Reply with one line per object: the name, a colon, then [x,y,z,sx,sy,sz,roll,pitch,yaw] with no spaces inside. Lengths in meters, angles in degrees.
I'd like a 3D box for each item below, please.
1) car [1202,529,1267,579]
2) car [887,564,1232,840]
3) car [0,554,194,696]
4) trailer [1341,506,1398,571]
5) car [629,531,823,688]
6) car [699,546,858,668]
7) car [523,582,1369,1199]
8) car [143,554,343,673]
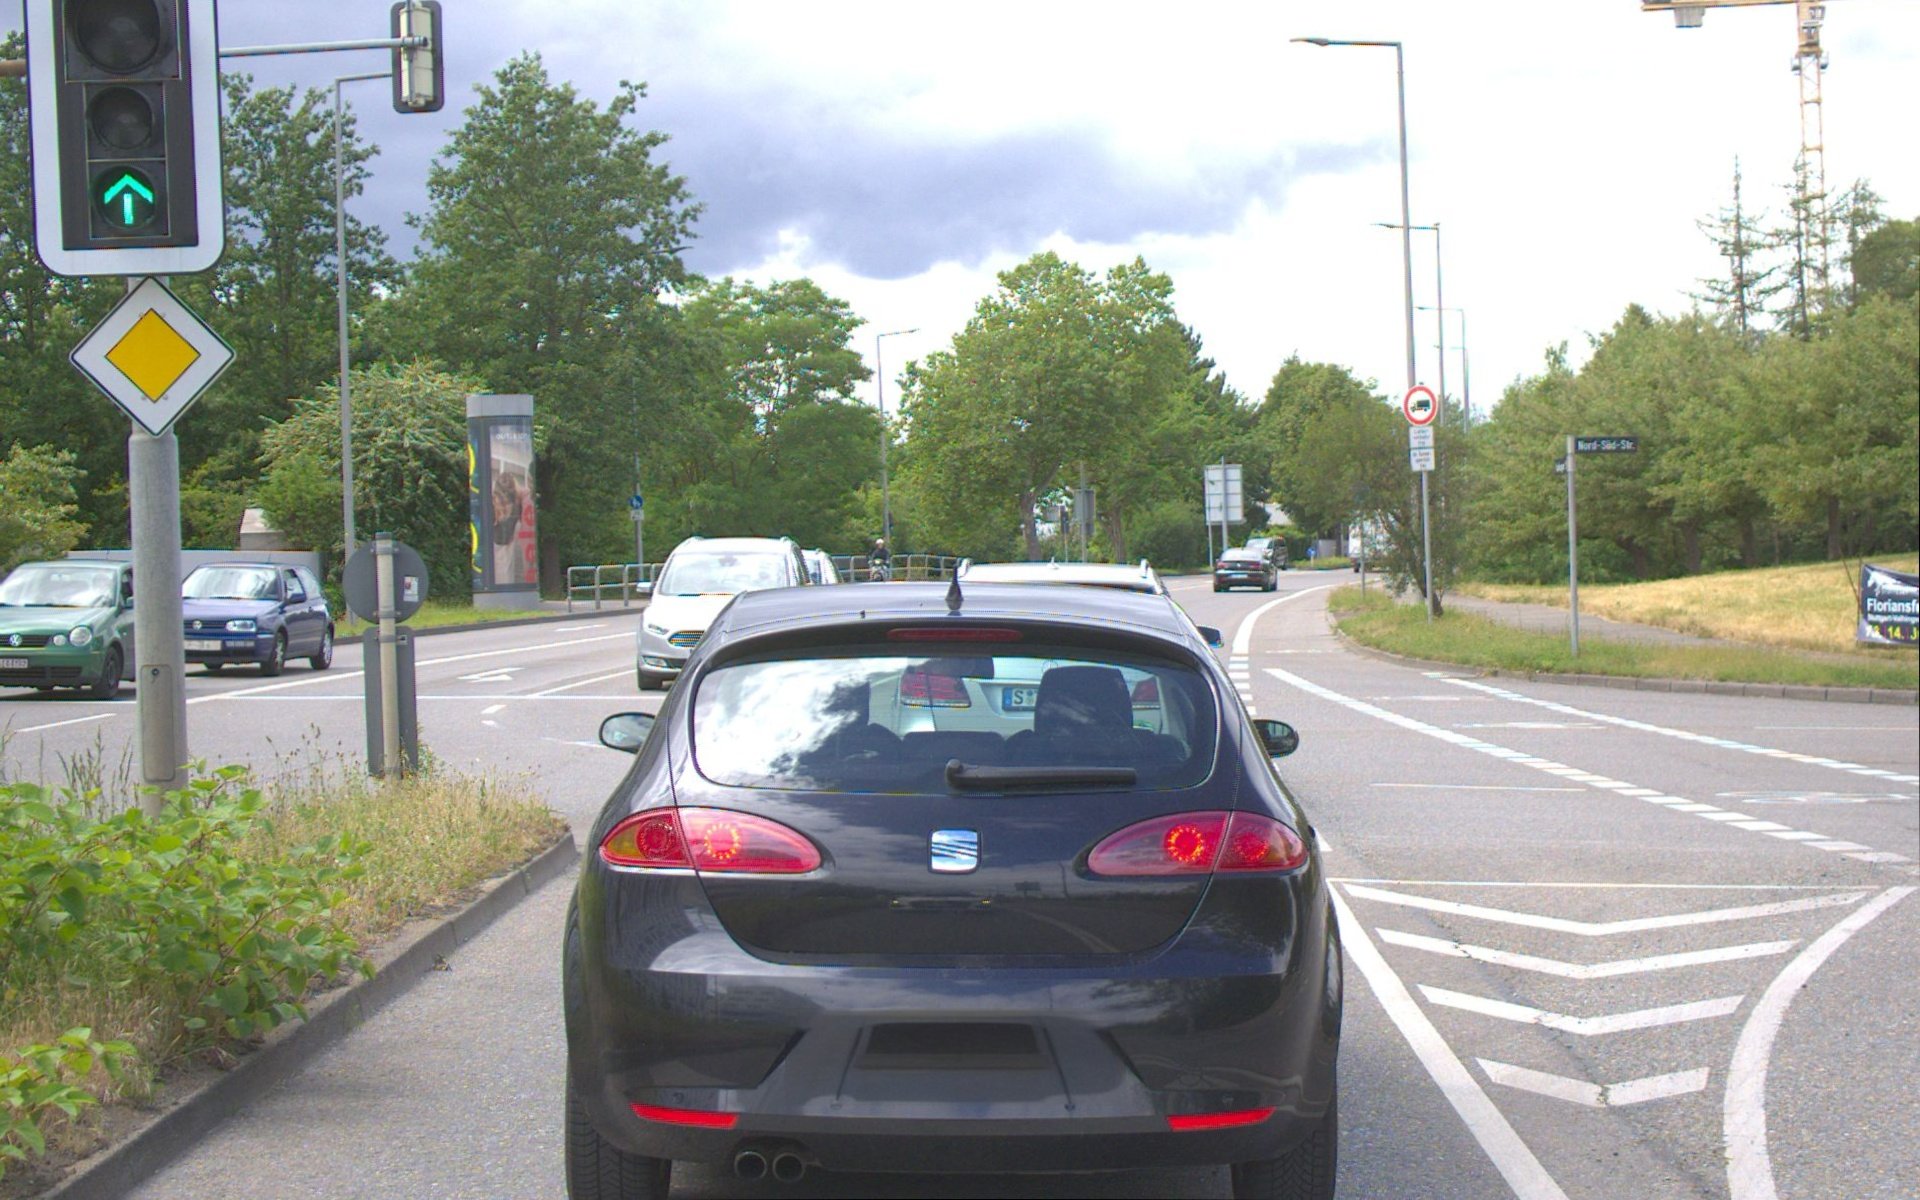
car: [8.899,-1.503,111.254,1.994,1.560,4.470,-1,1,6]
car: [0.548,0.536,20.322,1.834,1.462,3.751,1,0,0]
car: [-9.467,0.233,36.803,1.605,1.427,3.752,0,1,1]
trailer: [19.858,-2.941,166.522,2.492,3.063,5.585,1,0,9]
car: [-2.633,0.057,39.647,1.820,1.681,4.645,1,1,1]
car: [-2.367,0.052,45.647,1.660,1.513,4.084,0,1,3]
car: [-0.048,0.683,8.716,1.711,1.412,3.459,0,1,-1]
car: [-9.061,0.136,43.719,1.554,1.414,3.895,0,1,3]
